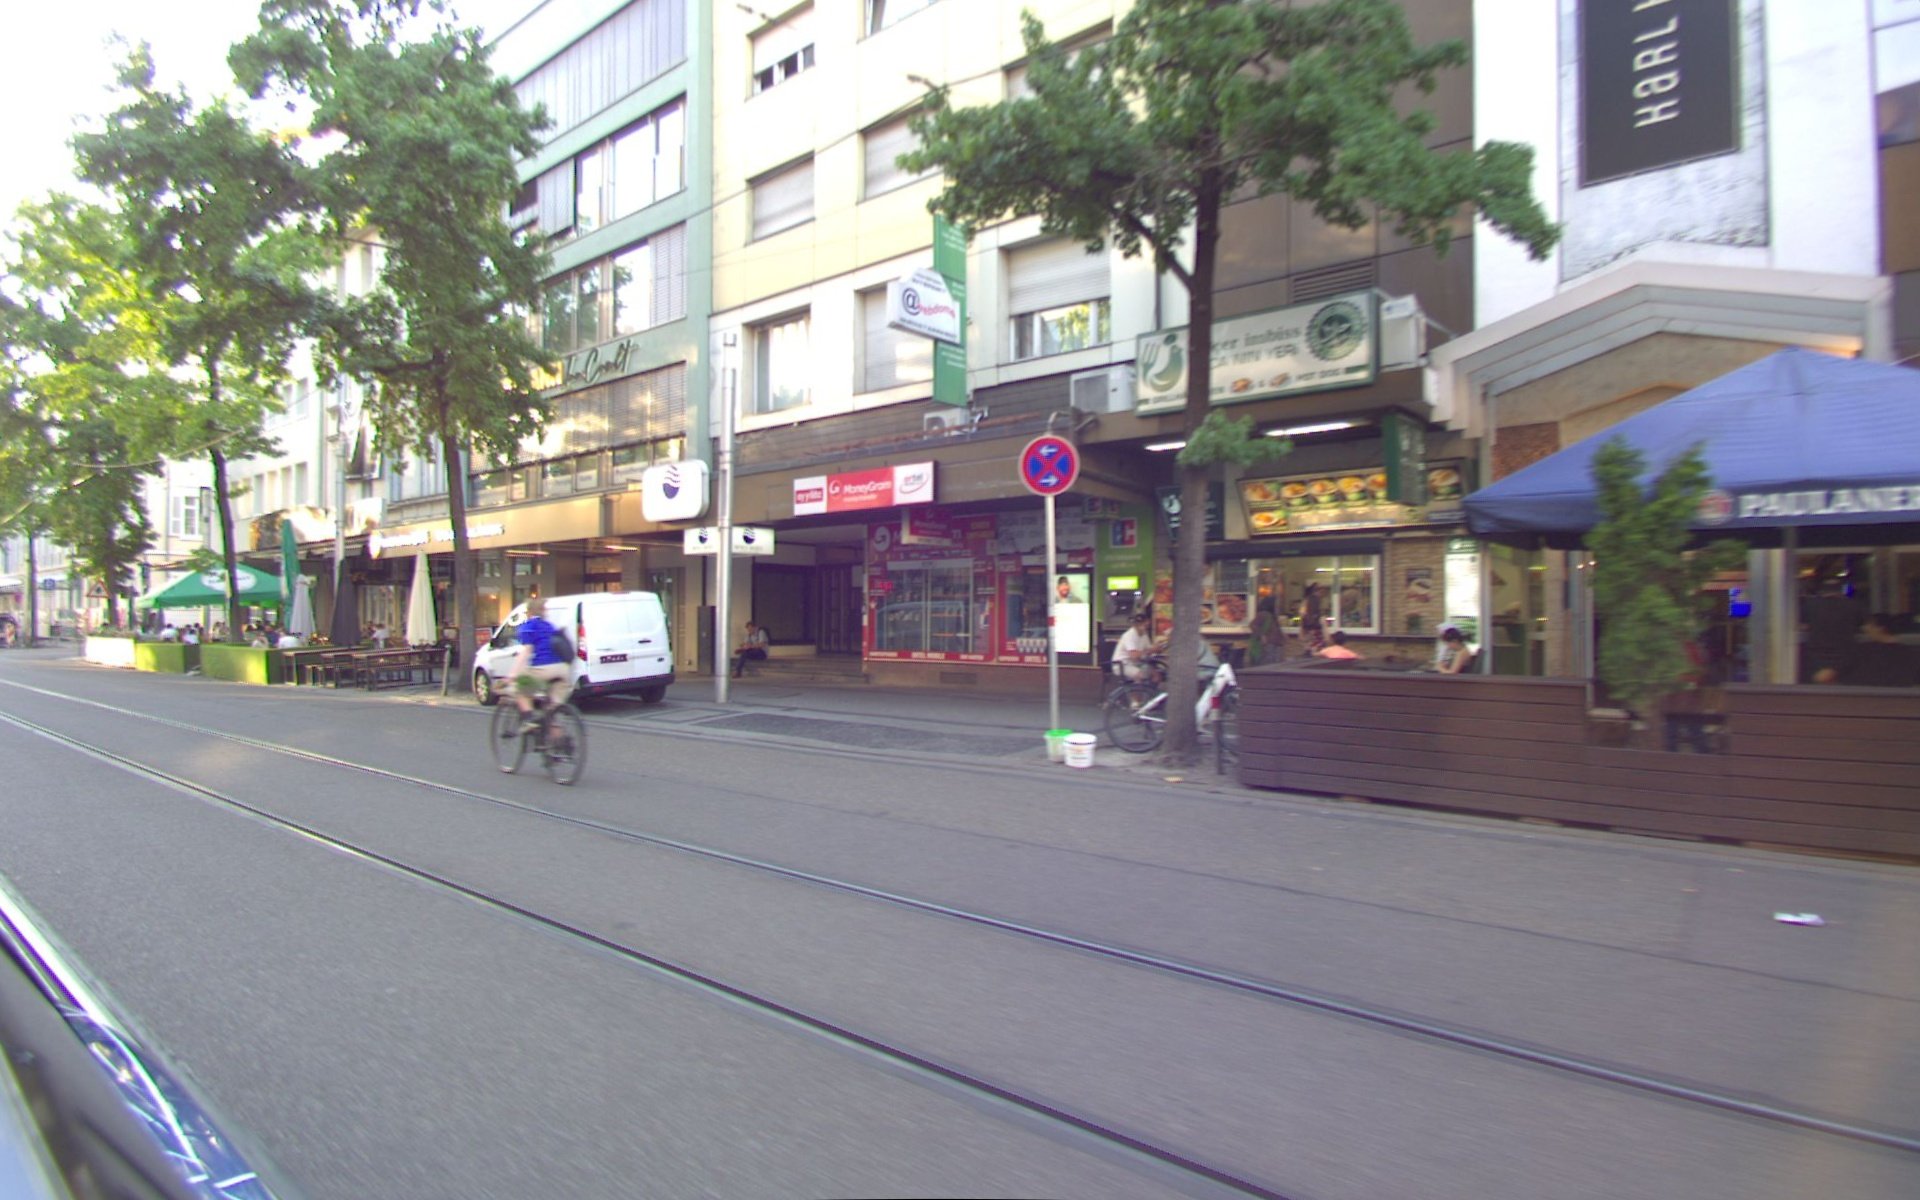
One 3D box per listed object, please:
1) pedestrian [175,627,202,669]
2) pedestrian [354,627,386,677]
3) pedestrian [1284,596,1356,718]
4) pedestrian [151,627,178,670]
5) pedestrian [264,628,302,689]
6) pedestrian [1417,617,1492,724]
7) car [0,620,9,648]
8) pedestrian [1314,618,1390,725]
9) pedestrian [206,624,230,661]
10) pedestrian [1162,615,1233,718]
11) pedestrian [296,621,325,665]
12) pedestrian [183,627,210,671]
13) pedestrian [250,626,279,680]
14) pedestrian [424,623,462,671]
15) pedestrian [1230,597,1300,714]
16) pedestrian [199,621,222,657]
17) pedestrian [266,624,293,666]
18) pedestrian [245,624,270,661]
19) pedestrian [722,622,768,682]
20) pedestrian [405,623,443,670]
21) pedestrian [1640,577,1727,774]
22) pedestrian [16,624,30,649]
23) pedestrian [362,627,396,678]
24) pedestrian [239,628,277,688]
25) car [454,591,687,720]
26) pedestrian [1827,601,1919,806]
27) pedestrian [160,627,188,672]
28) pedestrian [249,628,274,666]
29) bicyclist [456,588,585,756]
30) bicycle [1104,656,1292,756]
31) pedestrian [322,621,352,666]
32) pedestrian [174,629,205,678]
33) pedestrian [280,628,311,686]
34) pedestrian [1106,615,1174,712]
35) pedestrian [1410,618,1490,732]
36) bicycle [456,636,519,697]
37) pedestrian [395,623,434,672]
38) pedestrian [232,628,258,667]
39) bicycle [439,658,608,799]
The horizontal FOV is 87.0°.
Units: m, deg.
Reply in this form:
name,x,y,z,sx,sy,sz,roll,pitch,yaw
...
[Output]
name,x,y,z,sx,sy,sz,roll,pitch,yaw
pedestrian,-25.672,1.586,33.684,0.640,1.396,0.651,1,-2,-43
pedestrian,-17.700,1.543,30.361,0.649,1.471,0.642,-1,-2,38
pedestrian,4.552,0.696,12.777,0.642,1.444,0.654,0,4,40
pedestrian,-26.125,1.589,33.227,0.640,1.396,0.651,1,-2,-43
pedestrian,-16.797,1.442,25.116,0.639,1.471,0.652,0,-1,-20
pedestrian,5.779,0.801,11.816,0.665,1.165,0.635,0,2,38
car,-54.227,1.885,56.084,3.997,1.522,1.776,-1,-2,41
pedestrian,4.579,0.811,11.823,0.665,1.165,0.635,0,2,38
pedestrian,-30.016,1.705,40.935,0.649,1.471,0.642,-1,-2,38
pedestrian,3.098,0.843,13.176,0.665,1.237,0.635,0,3,38
pedestrian,-21.859,1.447,34.055,0.649,1.471,0.642,-1,-2,37
pedestrian,-24.783,1.576,32.858,0.640,1.396,0.651,1,-2,-43
pedestrian,-19.345,1.475,28.157,0.639,1.471,0.651,1,-2,-37
pedestrian,-14.599,1.312,28.579,0.785,1.326,0.693,-1,-2,36
pedestrian,3.996,0.702,13.232,0.642,1.444,0.654,0,4,40
pedestrian,-31.409,1.620,42.405,0.649,1.471,0.642,-1,-2,38
pedestrian,-24.527,1.619,36.464,0.649,1.471,0.642,-1,-2,37
pedestrian,-27.948,1.685,40.251,0.649,1.471,0.642,-1,-2,38
pedestrian,-4.398,1.045,20.704,0.648,1.184,0.642,-1,0,35
pedestrian,-15.416,1.320,29.096,0.785,1.326,0.693,-1,-2,36
pedestrian,6.097,0.599,8.522,0.564,1.564,0.650,0,2,38
pedestrian,-55.035,2.138,59.437,0.543,1.471,0.484,-1,-2,38
pedestrian,-17.028,1.535,29.674,0.648,1.471,0.643,-1,-2,31
pedestrian,-17.695,1.451,25.504,0.650,1.471,0.641,-1,-2,41
car,-6.604,0.844,16.944,4.328,1.835,1.807,-1,1,42
pedestrian,6.873,0.725,7.427,0.746,1.411,0.756,0,2,39
pedestrian,-25.178,1.577,32.425,0.640,1.396,0.651,1,-2,-43
pedestrian,-27.275,1.819,39.522,0.649,1.471,0.642,-1,-2,37
bicyclist,-4.006,0.622,9.219,0.897,1.425,0.750,-2,0,43
bicycle,2.429,1.061,10.354,1.813,0.933,0.477,-1,0,20
pedestrian,-20.838,1.438,33.854,0.649,1.471,0.642,-1,-2,37
pedestrian,-22.498,1.544,29.563,0.640,1.396,0.651,1,-2,-43
pedestrian,-17.077,1.448,26.009,0.639,1.471,0.652,0,-2,-33
pedestrian,2.462,0.850,13.819,0.665,1.237,0.635,0,3,38
pedestrian,5.379,0.801,11.105,0.665,1.165,0.635,0,2,38
bicycle,-9.399,1.302,20.201,0.493,1.116,1.801,0,-1,-3
pedestrian,-15.102,1.314,28.026,0.785,1.326,0.693,-1,-2,36
pedestrian,-27.566,1.820,39.025,0.649,1.471,0.642,-1,-2,37
bicycle,-4.017,1.106,9.240,1.866,1.081,0.722,-2,0,44
